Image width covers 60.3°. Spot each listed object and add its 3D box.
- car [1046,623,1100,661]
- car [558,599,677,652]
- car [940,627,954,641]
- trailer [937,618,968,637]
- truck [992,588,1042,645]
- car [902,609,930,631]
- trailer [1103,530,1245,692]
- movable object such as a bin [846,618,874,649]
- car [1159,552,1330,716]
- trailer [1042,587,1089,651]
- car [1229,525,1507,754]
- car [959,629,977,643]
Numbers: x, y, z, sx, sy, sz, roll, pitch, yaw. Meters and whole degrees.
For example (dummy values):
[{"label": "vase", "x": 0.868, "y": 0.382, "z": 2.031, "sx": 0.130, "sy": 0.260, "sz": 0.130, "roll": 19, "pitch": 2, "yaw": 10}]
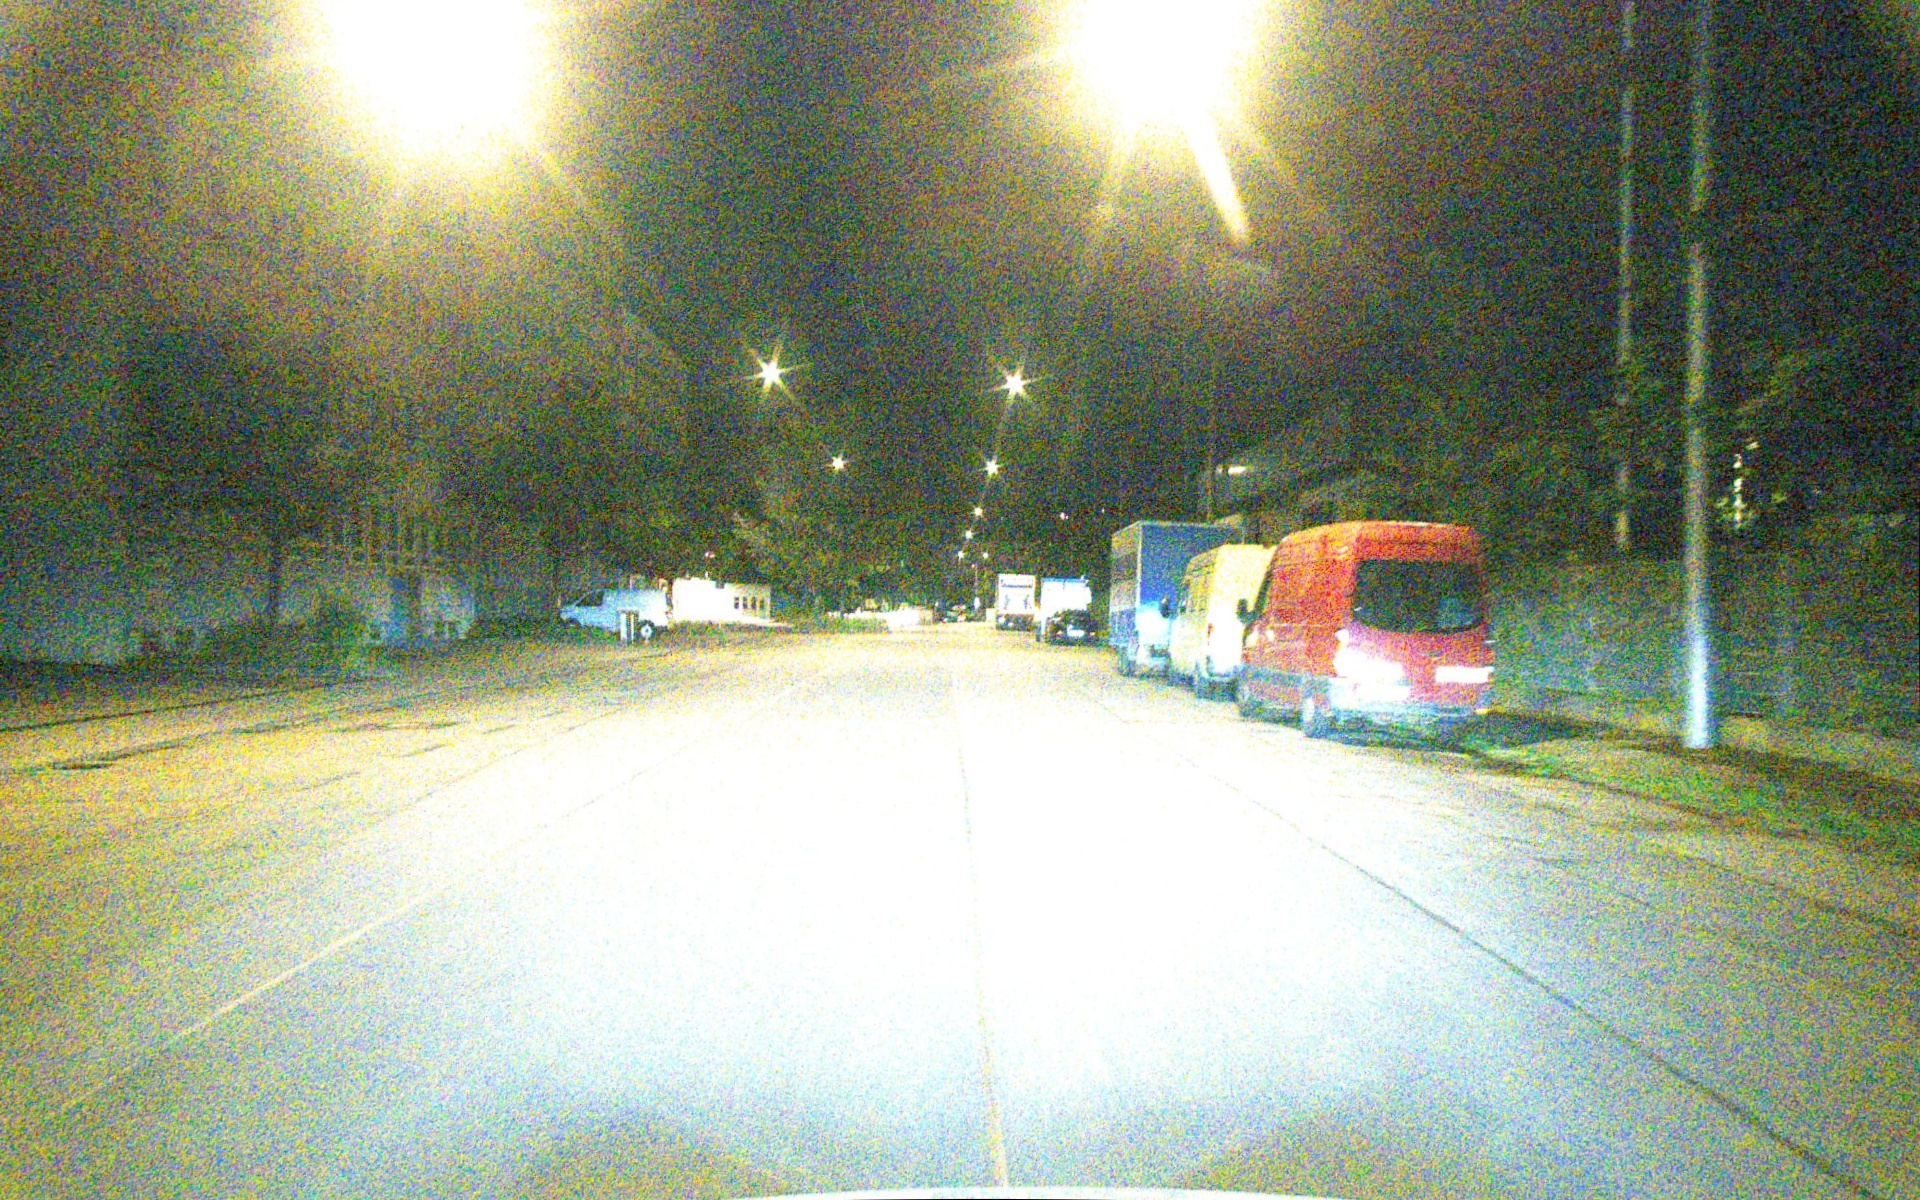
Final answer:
[{"label": "car", "x": 4.492, "y": 1.668, "z": 66.371, "sx": 1.692, "sy": 1.411, "sz": 4.674, "roll": 1, "pitch": 0, "yaw": -2}, {"label": "car", "x": -13.662, "y": 1.006, "z": 66.160, "sx": 4.342, "sy": 2.006, "sz": 2.000, "roll": 1, "pitch": 0, "yaw": -1}, {"label": "car", "x": -1.638, "y": 4.378, "z": 212.974, "sx": 1.685, "sy": 1.690, "sz": 3.999, "roll": 1, "pitch": -2, "yaw": 0}, {"label": "trailer", "x": -0.929, "y": 3.287, "z": 197.925, "sx": 1.541, "sy": 2.198, "sz": 5.174, "roll": -1, "pitch": -2, "yaw": -27}, {"label": "truck", "x": 4.089, "y": 1.216, "z": 120.794, "sx": 3.256, "sy": 3.936, "sz": 9.325, "roll": 1, "pitch": -1, "yaw": -1}, {"label": "car", "x": -6.669, "y": 3.049, "z": 249.652, "sx": 2.465, "sy": 3.227, "sz": 7.143, "roll": -2, "pitch": -1, "yaw": 13}, {"label": "trailer", "x": 4.706, "y": 0.243, "z": 37.068, "sx": 2.350, "sy": 3.384, "sz": 4.359, "roll": 1, "pitch": 0, "yaw": -3}, {"label": "movable object such as a bin", "x": -8.325, "y": 2.771, "z": 137.376, "sx": 1.526, "sy": 2.511, "sz": 2.822, "roll": -1, "pitch": -1, "yaw": -21}, {"label": "car", "x": 4.969, "y": 0.561, "z": 29.849, "sx": 1.901, "sy": 2.592, "sz": 6.645, "roll": 1, "pitch": 0, "yaw": 0}, {"label": "trailer", "x": 4.579, "y": 0.816, "z": 72.248, "sx": 1.952, "sy": 2.697, "sz": 4.001, "roll": 1, "pitch": 0, "yaw": 2}, {"label": "car", "x": 5.171, "y": 0.471, "z": 21.966, "sx": 1.953, "sy": 2.592, "sz": 6.022, "roll": 1, "pitch": 0, "yaw": -2}, {"label": "car", "x": 1.151, "y": 5.274, "z": 241.654, "sx": 1.684, "sy": 1.853, "sz": 4.002, "roll": 0, "pitch": -2, "yaw": 15}]
